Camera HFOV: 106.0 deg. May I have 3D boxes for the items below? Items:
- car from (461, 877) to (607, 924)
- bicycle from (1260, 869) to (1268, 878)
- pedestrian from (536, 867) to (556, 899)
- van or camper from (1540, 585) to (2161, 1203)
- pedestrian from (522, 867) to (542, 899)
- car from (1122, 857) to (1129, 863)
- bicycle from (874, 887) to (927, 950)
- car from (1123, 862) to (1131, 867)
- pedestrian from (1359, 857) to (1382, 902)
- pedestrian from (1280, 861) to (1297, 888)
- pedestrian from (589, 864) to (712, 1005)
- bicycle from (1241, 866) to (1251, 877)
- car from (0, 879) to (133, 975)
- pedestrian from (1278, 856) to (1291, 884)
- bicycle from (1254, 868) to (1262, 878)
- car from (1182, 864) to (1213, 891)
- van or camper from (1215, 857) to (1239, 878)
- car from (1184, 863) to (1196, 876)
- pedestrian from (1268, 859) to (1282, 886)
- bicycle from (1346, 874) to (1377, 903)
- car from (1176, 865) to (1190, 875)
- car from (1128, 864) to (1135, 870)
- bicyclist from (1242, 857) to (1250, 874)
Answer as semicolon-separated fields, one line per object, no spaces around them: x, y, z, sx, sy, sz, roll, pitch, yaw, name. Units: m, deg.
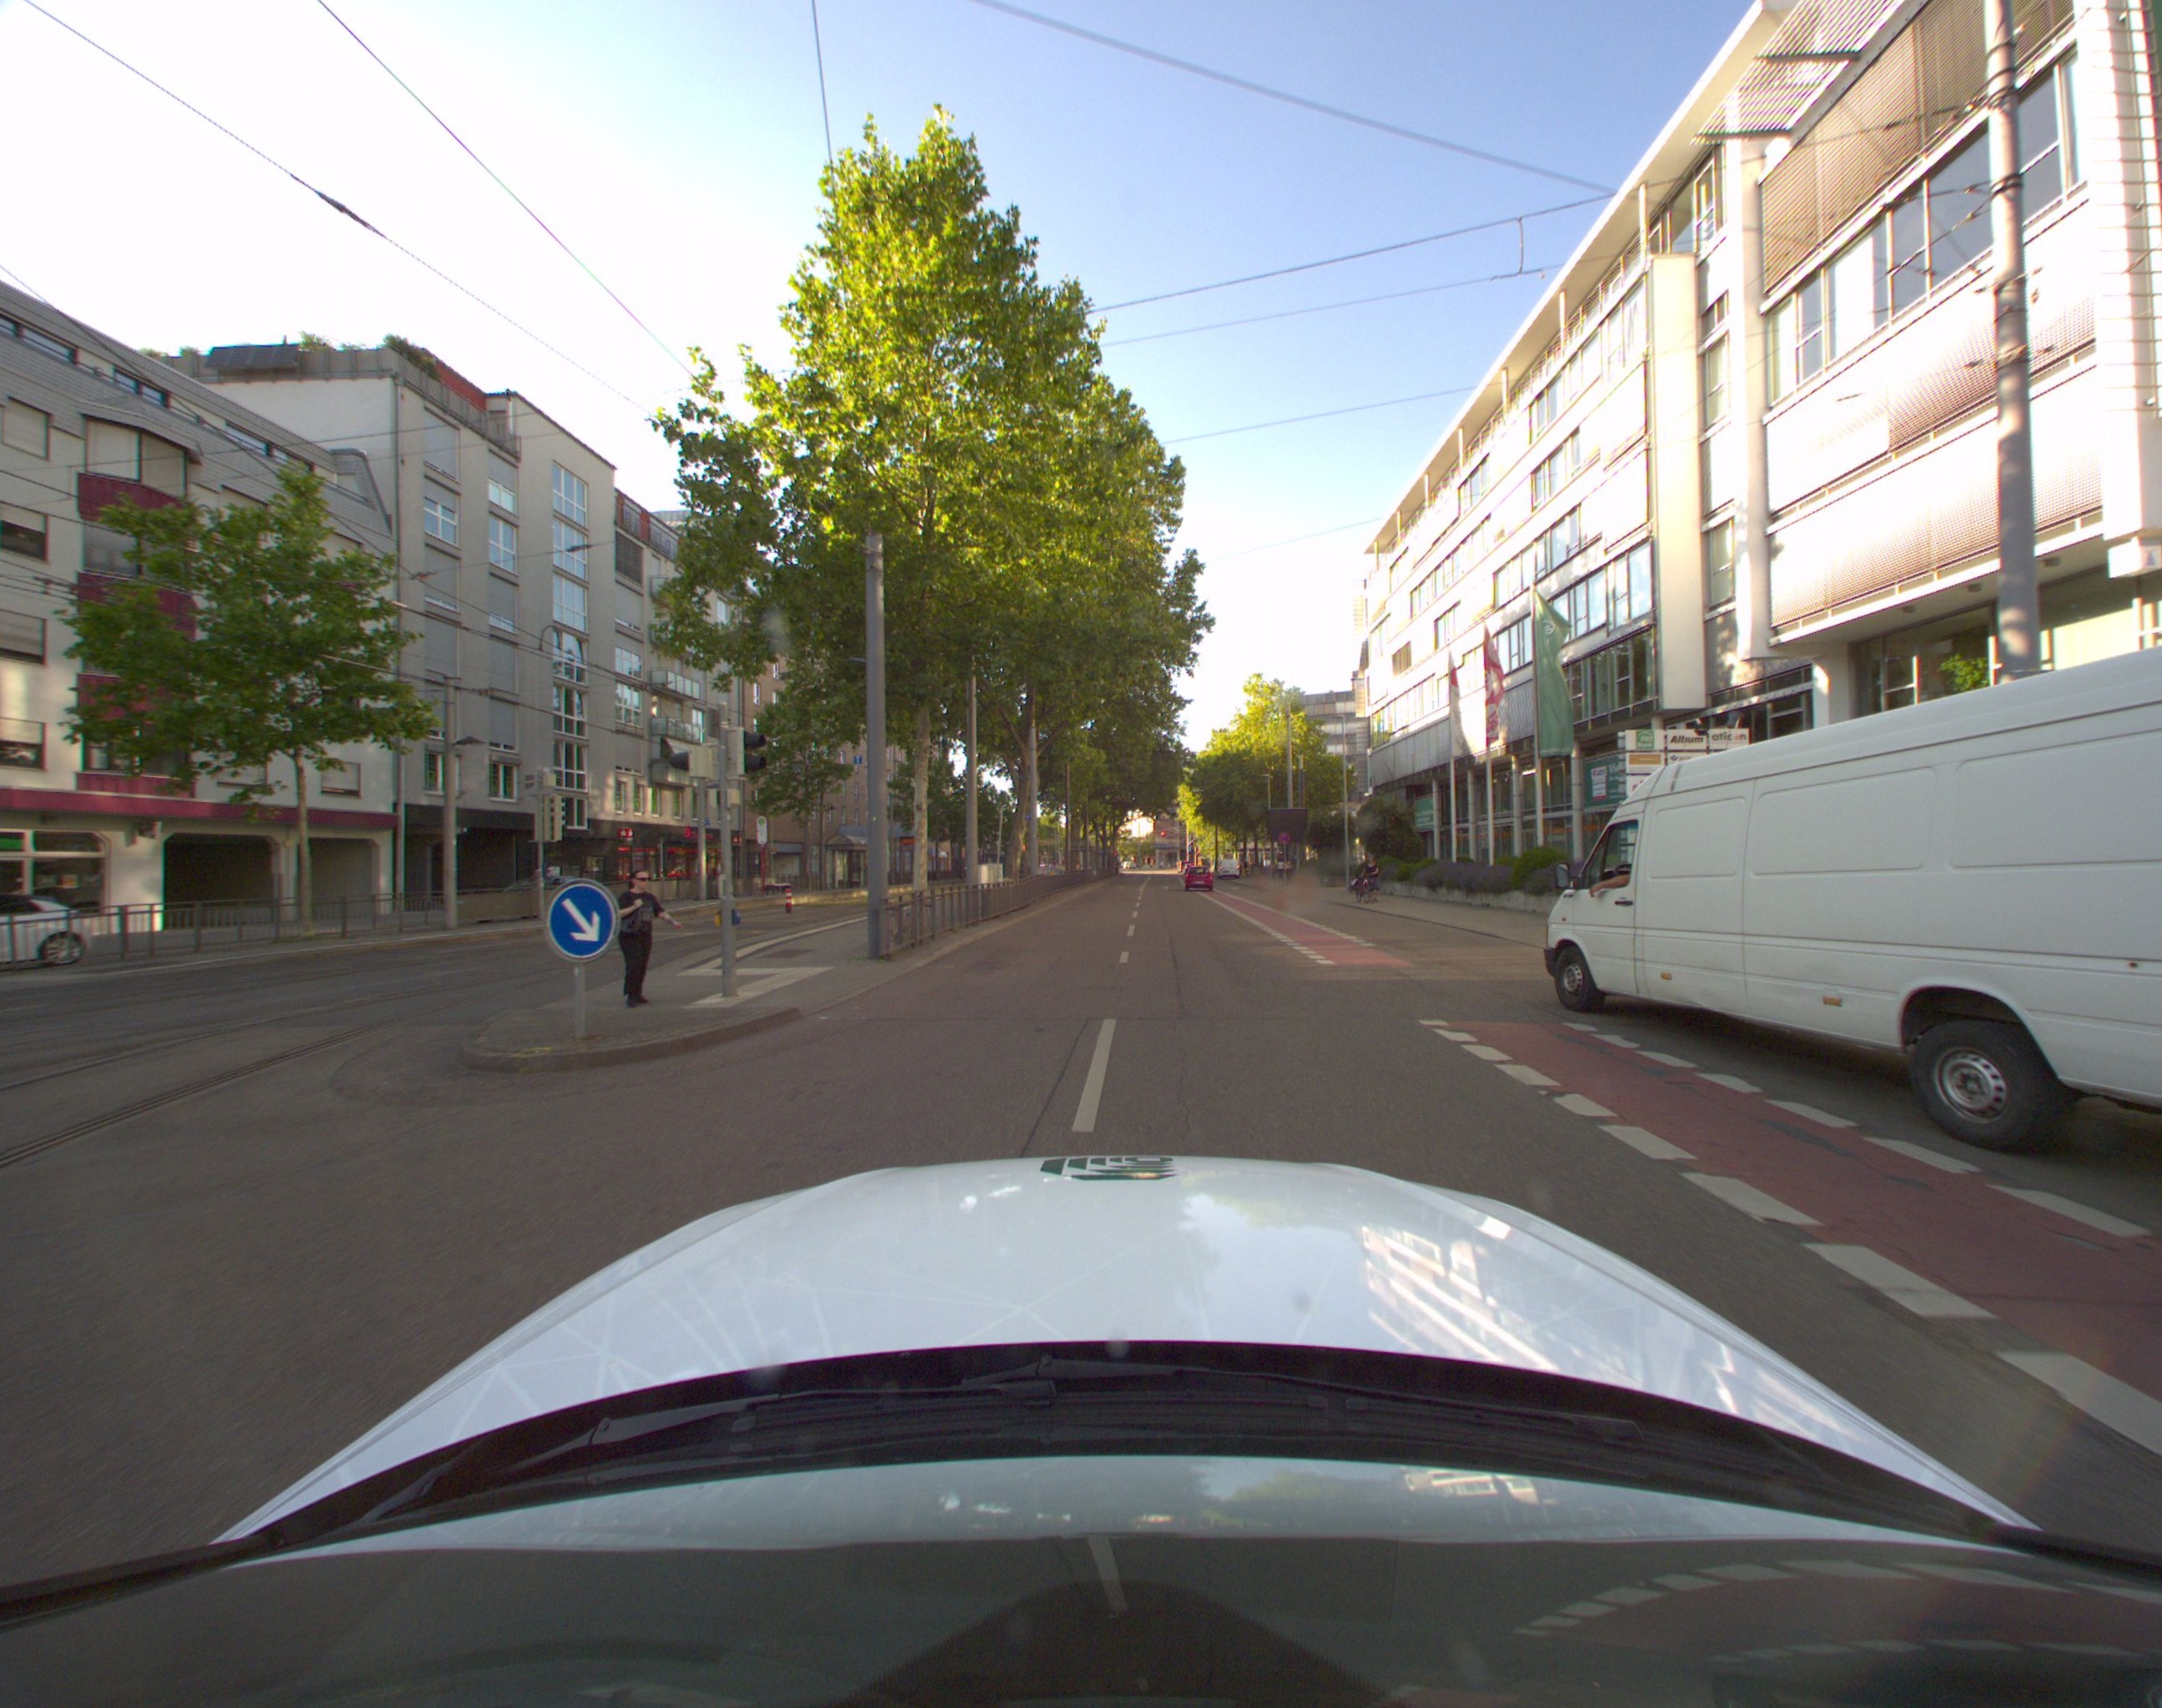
-18.774;1.549;28.254;1.693;1.399;4.655;-1;-1;3;car
19.468;2.058;86.594;0.465;0.982;1.769;-2;-1;4;bicycle
-25.188;1.361;38.346;0.532;1.494;0.588;-1;-1;1;pedestrian
5.918;0.203;5.970;1.960;2.716;6.312;0;-1;4;van or camper
-25.773;1.354;38.227;0.532;1.494;0.588;-1;-1;1;pedestrian
12.099;1.630;219.784;1.772;1.588;3.411;0;-1;0;car
-3.127;1.105;14.191;0.393;0.949;1.355;-1;1;10;bicycle
12.050;2.752;213.735;1.772;1.535;3.411;0;-1;0;car
10.786;0.944;30.324;0.643;1.680;0.653;-1;-1;7;pedestrian
12.391;1.209;48.637;0.642;1.579;0.721;-4;-1;-9;pedestrian
-4.963;0.904;9.421;1.039;1.544;0.697;-1;-1;12;pedestrian
16.684;1.784;82.262;0.680;1.067;2.472;-2;-1;4;bicycle
-19.538;1.285;13.743;1.946;1.595;4.265;-1;-1;4;car
13.321;1.058;53.339;0.538;1.796;0.907;-4;-1;2;pedestrian
18.829;2.048;86.620;0.583;1.067;1.901;-2;-1;4;bicycle
6.821;1.347;47.915;1.606;1.535;3.416;0;-1;5;car
14.570;1.334;81.461;1.984;1.989;4.752;-1;-1;6;van or camper
15.827;2.253;118.628;1.627;1.800;3.336;-1;-1;6;car
12.712;1.226;53.374;0.562;1.702;0.907;-4;-1;2;pedestrian
10.415;1.268;30.300;0.518;0.975;2.205;-5;-1;6;bicycle
15.630;2.391;124.901;1.772;1.535;3.511;0;-1;0;car
12.828;3.331;207.055;1.772;1.535;3.411;0;-1;0;car
16.692;1.162;82.275;0.647;1.702;0.953;-1;-1;4;bicyclist
